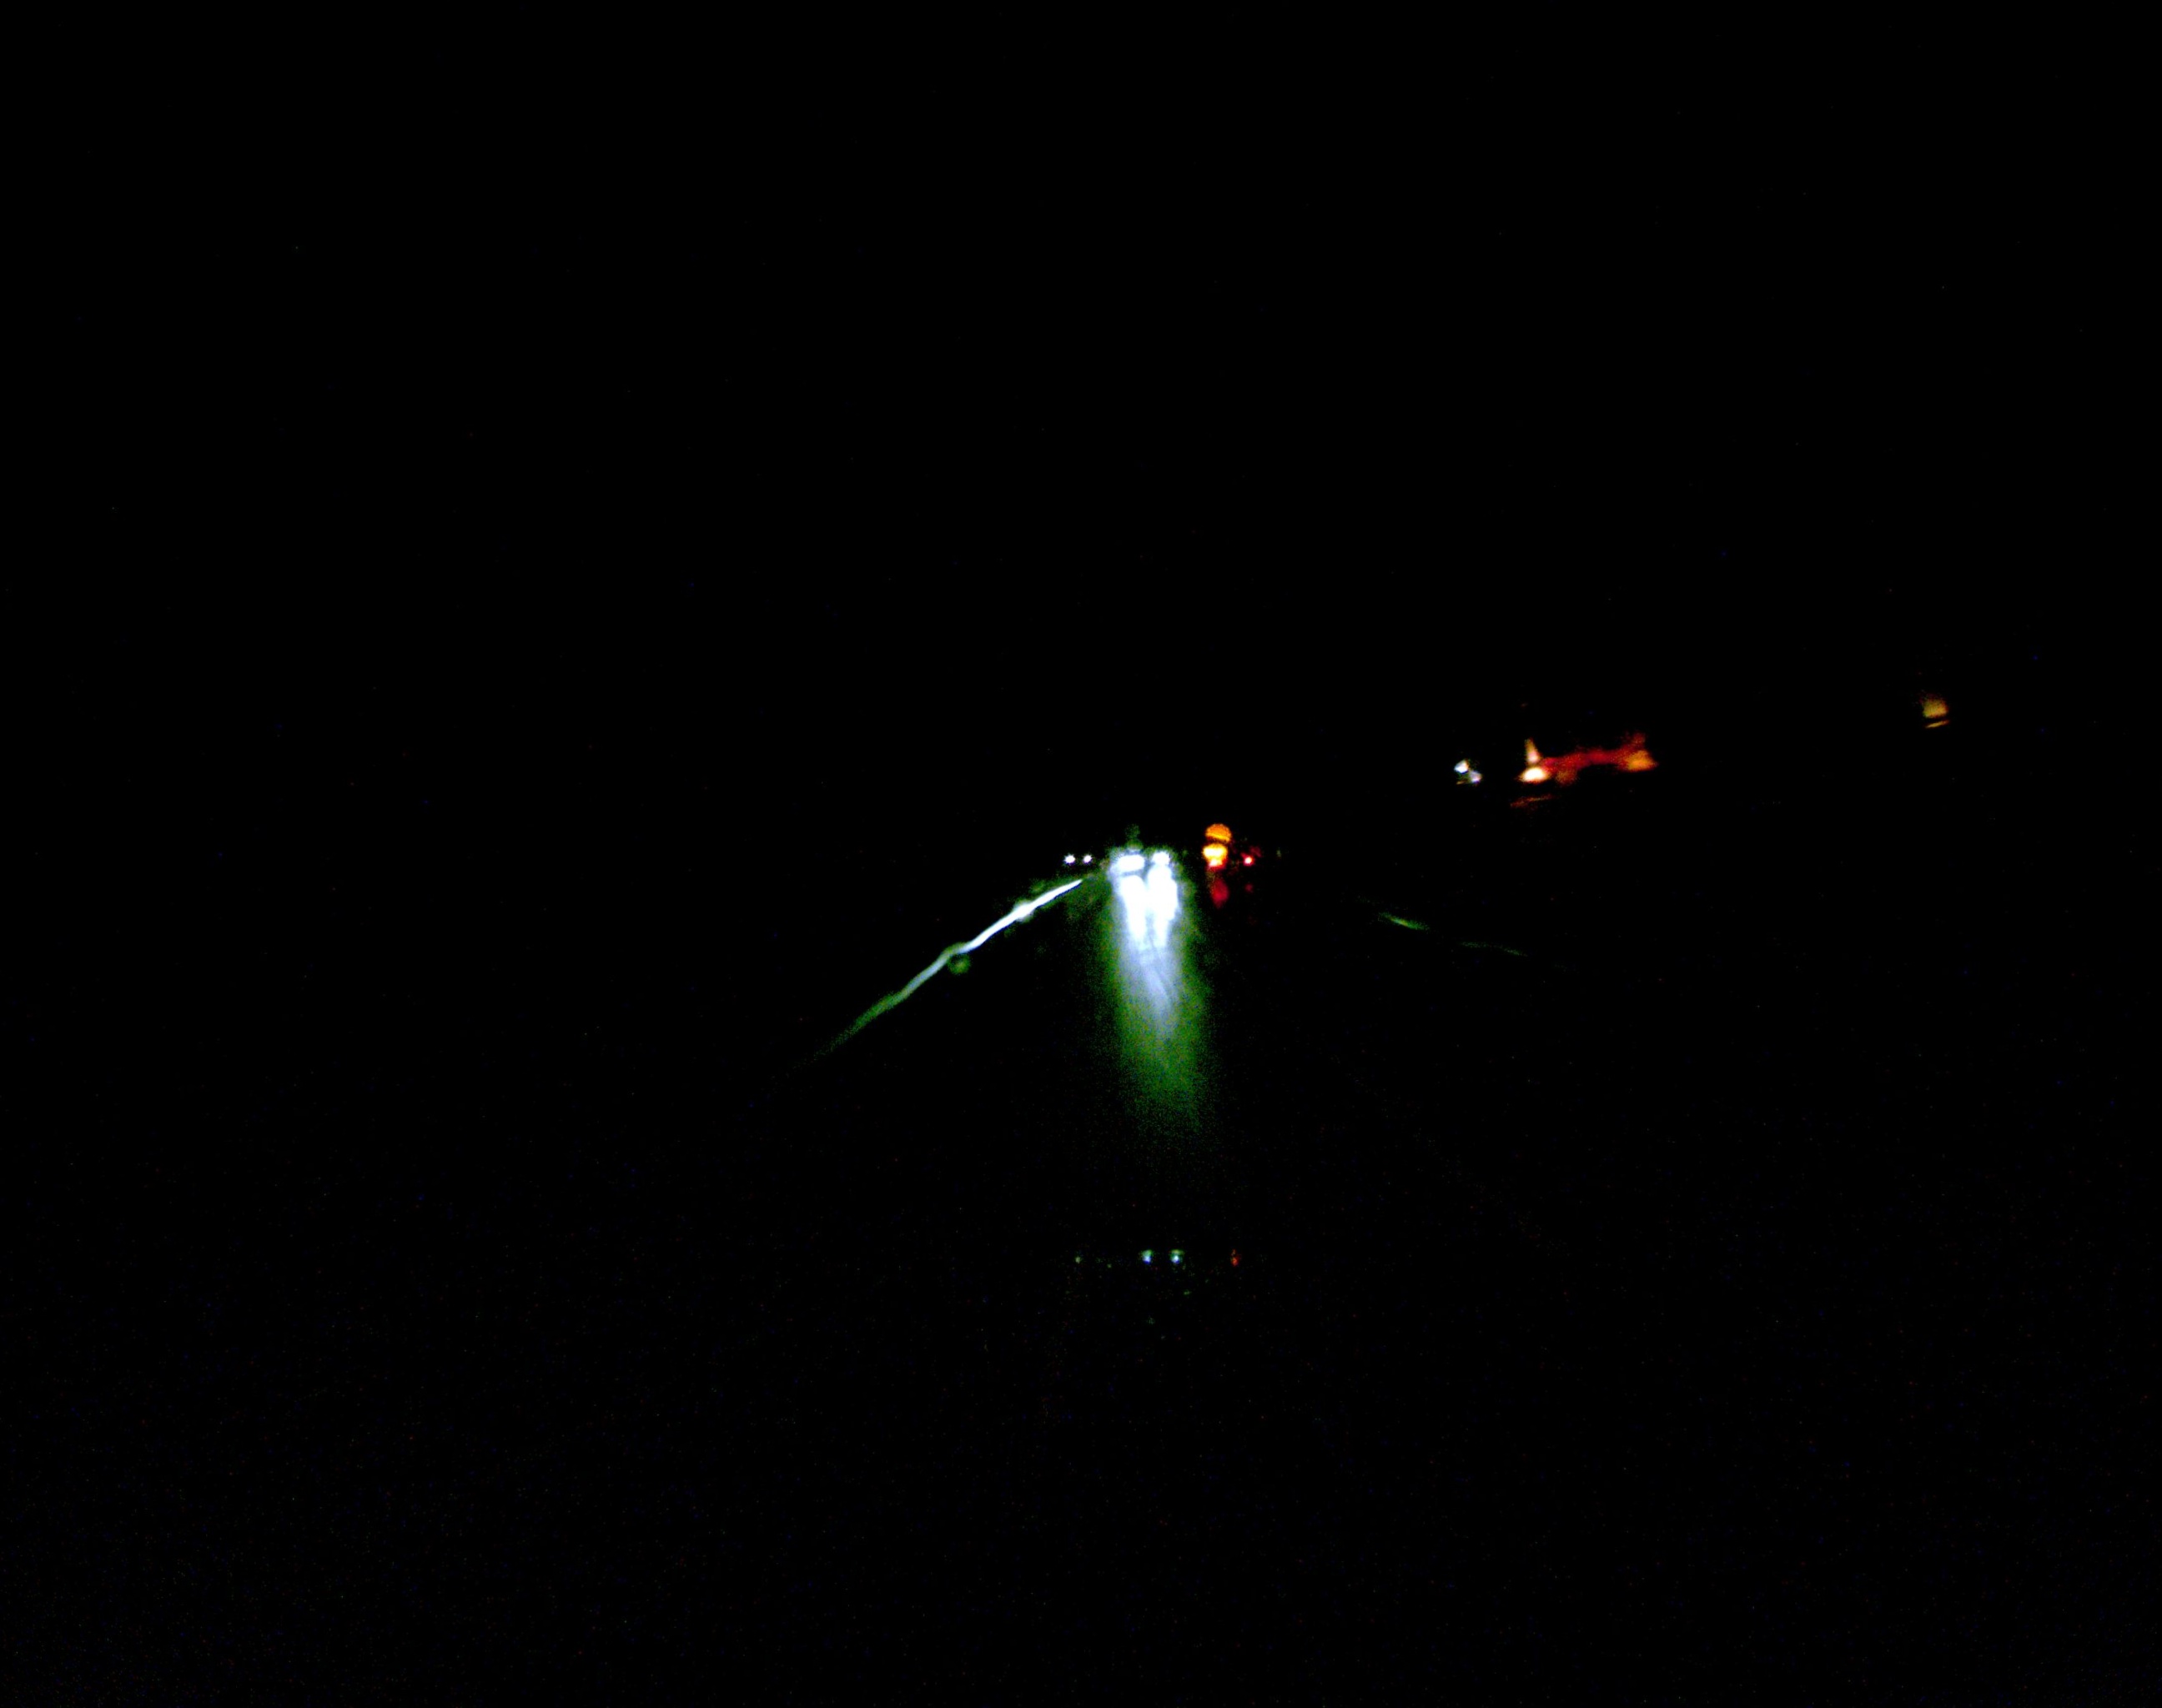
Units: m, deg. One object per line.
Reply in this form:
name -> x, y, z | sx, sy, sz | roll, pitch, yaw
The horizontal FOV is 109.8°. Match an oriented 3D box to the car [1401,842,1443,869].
car -> 19.257, 0.049, 42.816 | 1.689, 1.390, 4.157 | 1, 2, 30

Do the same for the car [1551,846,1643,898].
car -> 17.549, 0.569, 26.063 | 1.845, 1.368, 4.742 | -3, 2, 25

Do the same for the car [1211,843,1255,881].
car -> 6.900, 0.323, 34.741 | 1.699, 1.590, 3.802 | -2, 1, 8

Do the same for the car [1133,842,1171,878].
car -> 4.036, 0.292, 42.875 | 1.958, 1.712, 4.000 | -2, 3, 7

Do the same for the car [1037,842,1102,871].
car -> -0.822, 0.170, 49.424 | 1.963, 1.682, 4.763 | -5, 2, -31

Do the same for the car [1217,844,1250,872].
car -> 8.944, 0.187, 44.659 | 1.715, 1.467, 3.871 | -3, 1, 11

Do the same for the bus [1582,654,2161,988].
bus -> 13.639, -0.438, 9.850 | 2.904, 3.846, 13.040 | -3, 1, -16
